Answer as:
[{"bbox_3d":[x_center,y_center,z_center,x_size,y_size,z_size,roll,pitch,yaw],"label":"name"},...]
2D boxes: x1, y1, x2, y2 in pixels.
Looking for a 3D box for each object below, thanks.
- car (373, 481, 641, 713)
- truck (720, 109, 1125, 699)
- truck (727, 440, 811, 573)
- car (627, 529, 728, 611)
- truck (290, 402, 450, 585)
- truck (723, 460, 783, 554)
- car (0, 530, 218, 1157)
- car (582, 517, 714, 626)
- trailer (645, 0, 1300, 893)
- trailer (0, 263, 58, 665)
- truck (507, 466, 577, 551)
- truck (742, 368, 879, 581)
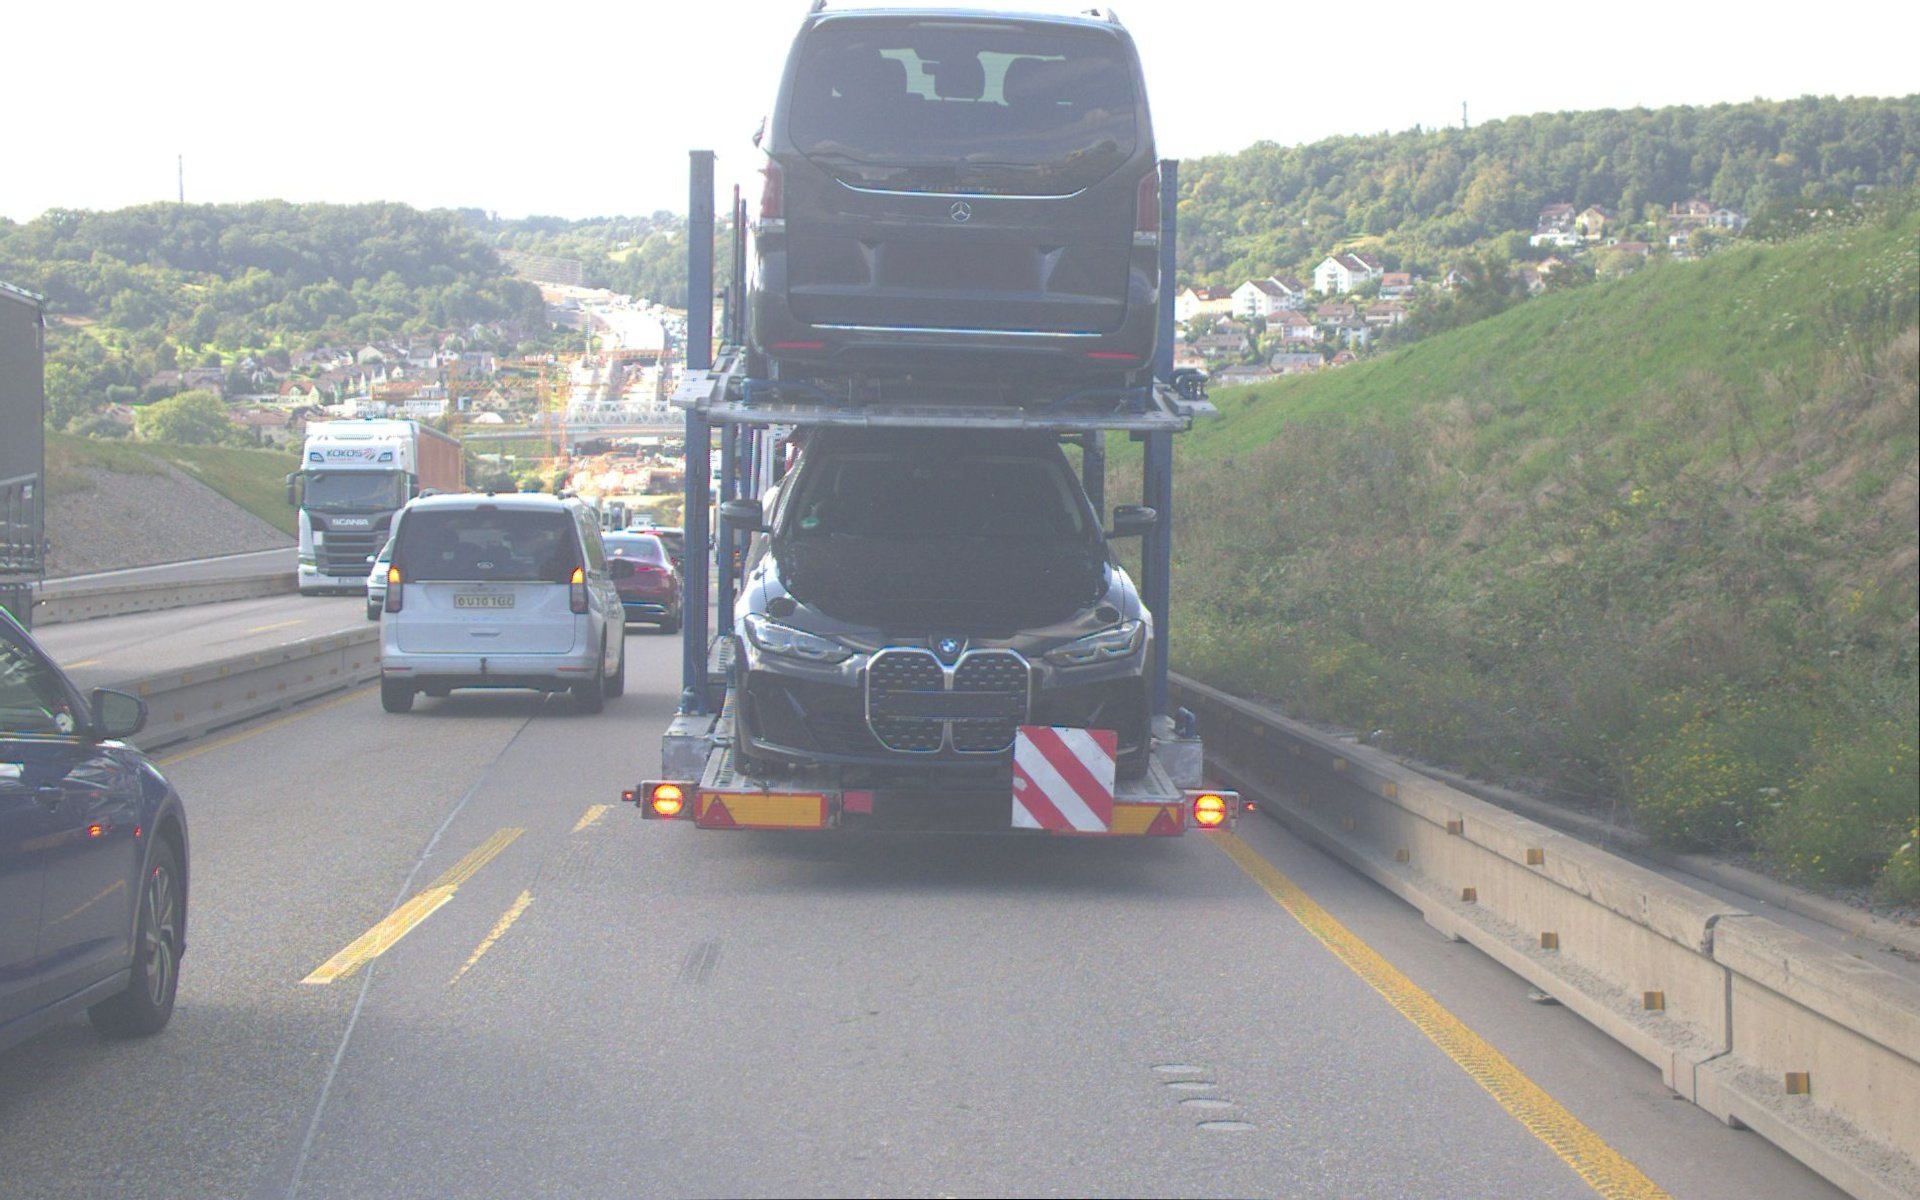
[{"bbox_3d":[-3.832,-0.087,29.740,1.823,1.817,4.457,1,2,-2],"label":"car"},{"bbox_3d":[-0.337,-1.366,25.847,2.678,3.908,6.028,0,1,-2],"label":"truck"},{"bbox_3d":[-6.957,-3.331,123.860,2.863,4.555,11.660,0,1,-4],"label":"truck"},{"bbox_3d":[-5.892,-0.651,72.176,1.993,1.619,4.751,1,1,-3],"label":"car"},{"bbox_3d":[-14.031,-2.511,82.496,2.638,4.085,10.820,0,1,-4],"label":"truck"},{"bbox_3d":[-10.360,-4.615,171.544,2.863,4.555,11.660,0,1,-4],"label":"truck"},{"bbox_3d":[-3.167,0.571,8.751,1.715,1.503,4.000,1,1,-1],"label":"car"},{"bbox_3d":[-4.619,-0.465,51.373,1.823,1.487,4.685,1,2,-4],"label":"car"},{"bbox_3d":[-0.123,-0.921,19.971,2.708,4.015,11.421,0,1,-2],"label":"trailer"},{"bbox_3d":[-10.569,-1.238,29.372,2.614,3.940,13.876,0,1,-2],"label":"trailer"},{"bbox_3d":[-20.690,-4.518,170.469,2.638,4.085,10.820,0,1,-3],"label":"truck"},{"bbox_3d":[-3.575,-2.822,79.538,2.863,4.555,11.660,0,1,-4],"label":"truck"}]
